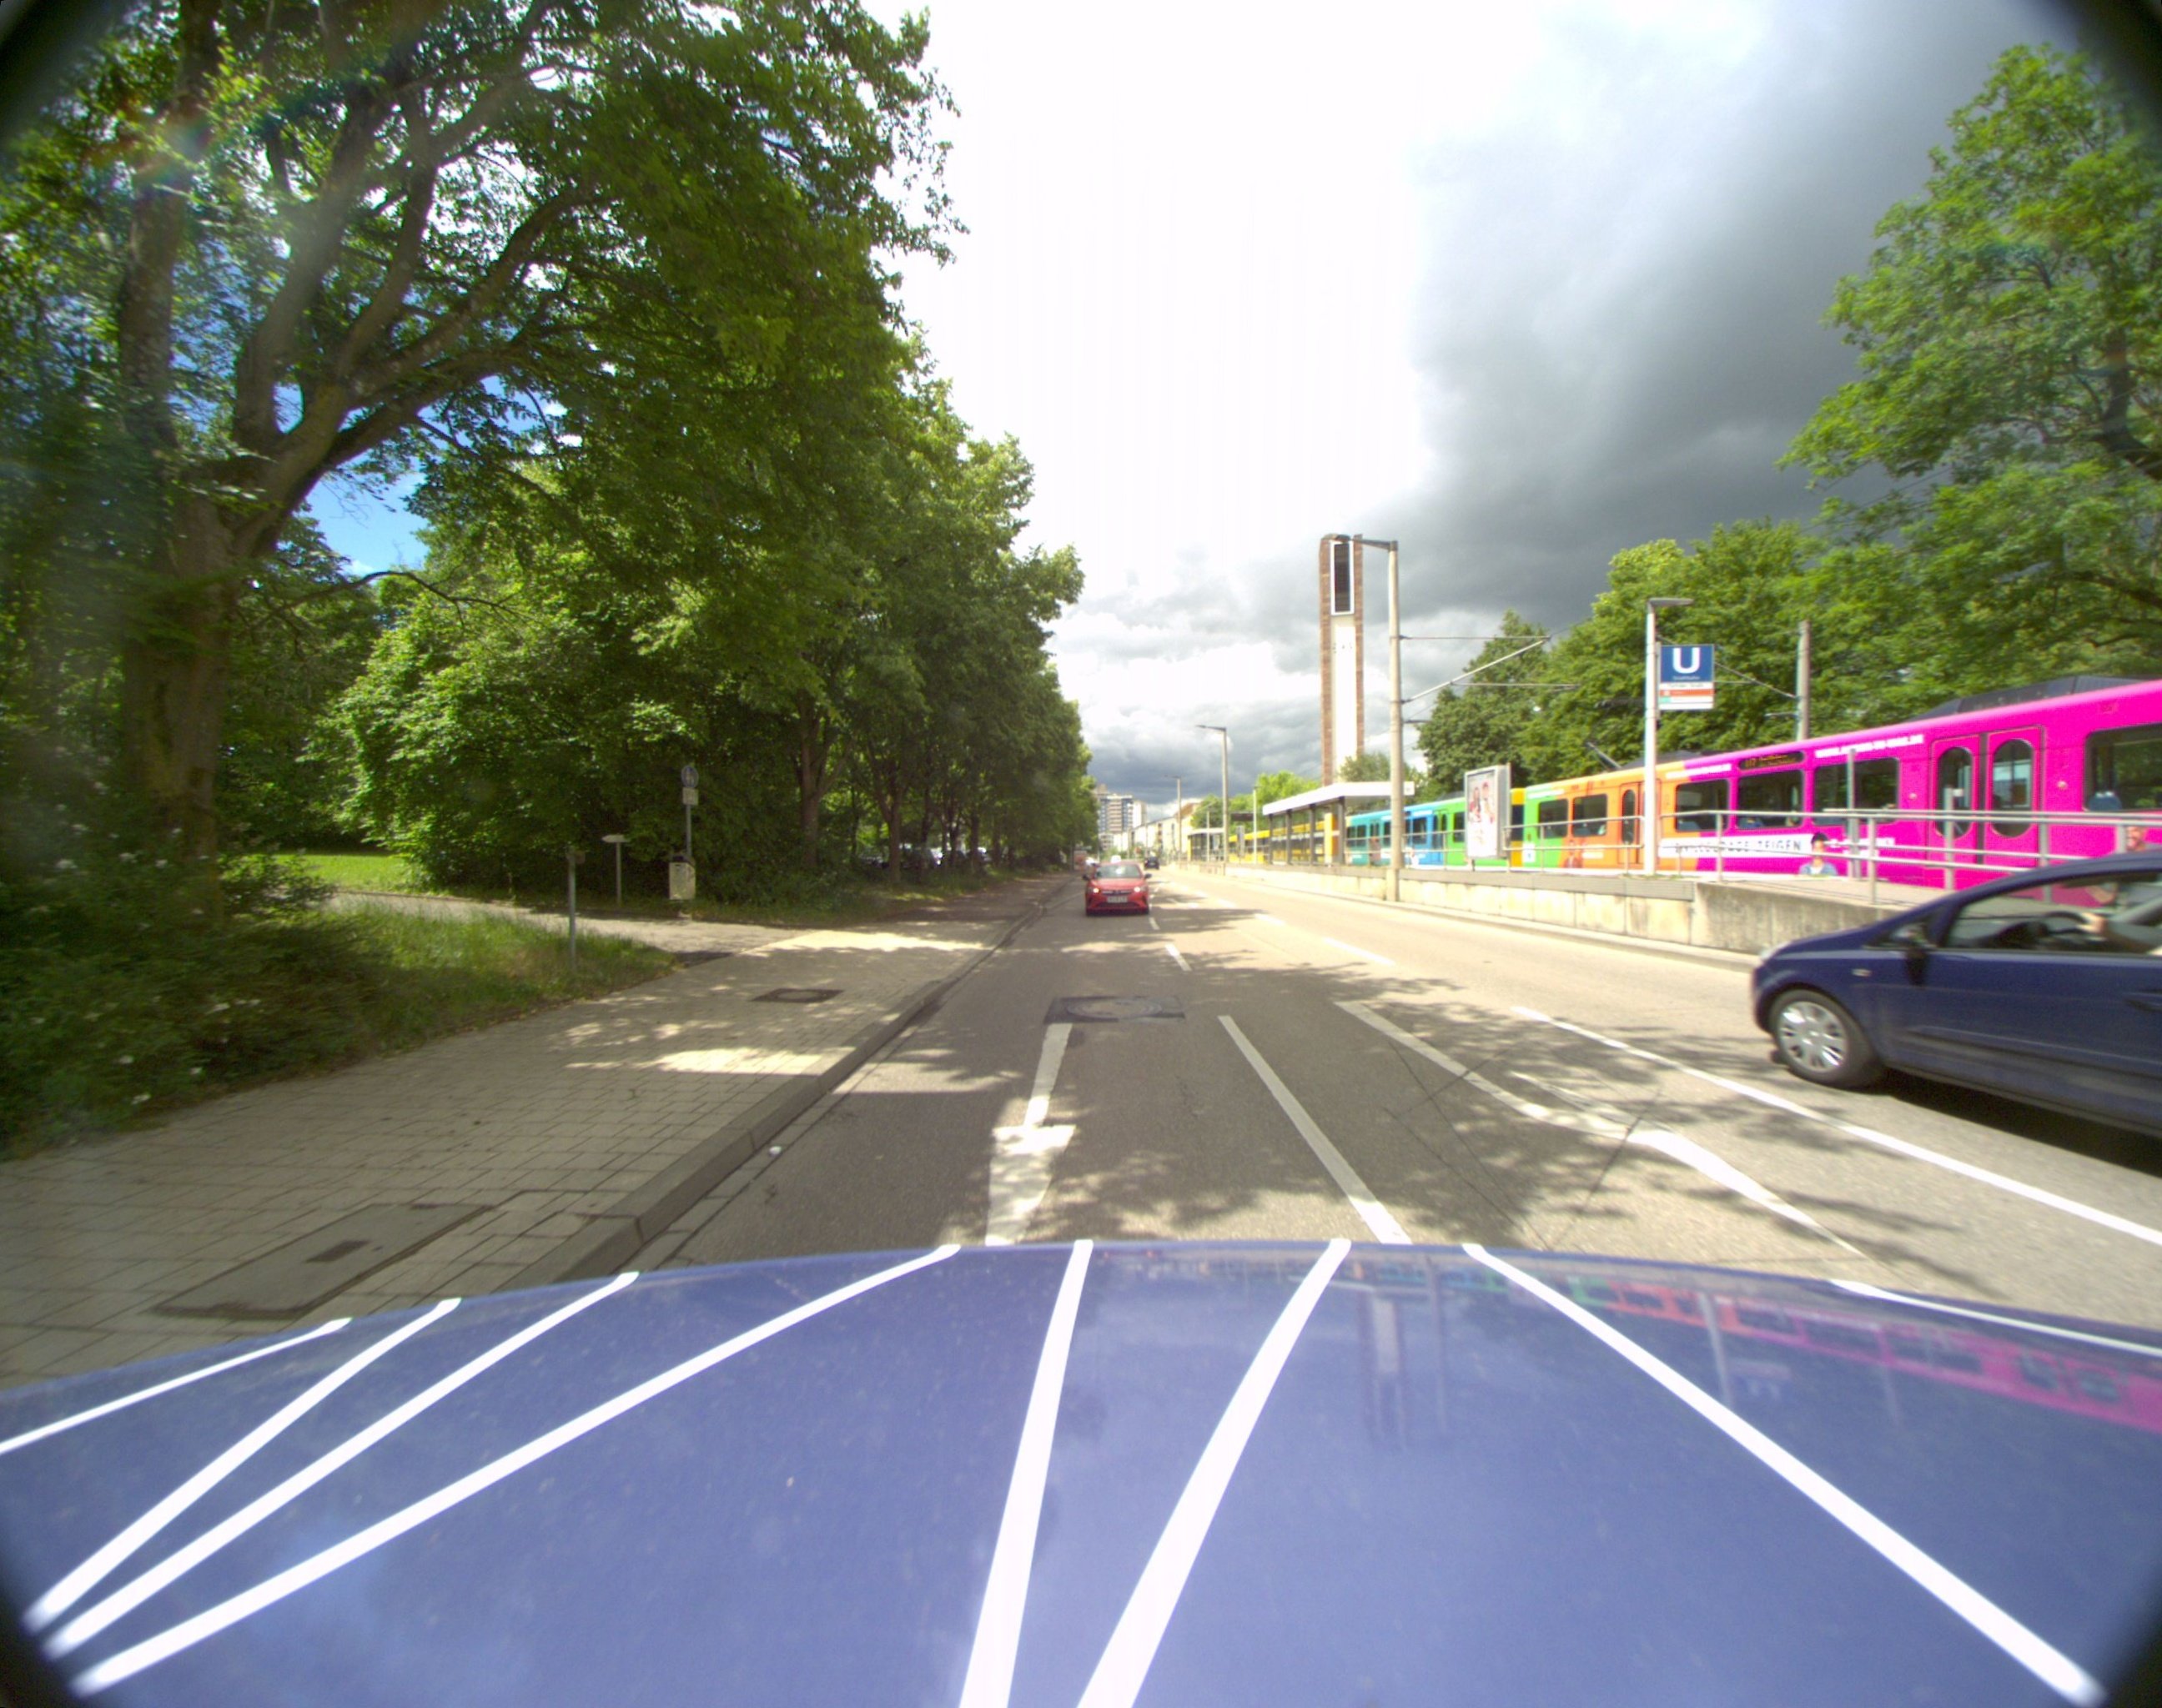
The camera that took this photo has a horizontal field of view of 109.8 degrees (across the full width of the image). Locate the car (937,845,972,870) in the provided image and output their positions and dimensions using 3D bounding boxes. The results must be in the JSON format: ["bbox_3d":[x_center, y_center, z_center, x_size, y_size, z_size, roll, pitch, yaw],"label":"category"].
[{"bbox_3d":[-8.319,0.201,50.232,1.756,1.533,4.225,-2,1,-2],"label":"car"}]

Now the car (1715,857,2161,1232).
[{"bbox_3d":[5.202,0.781,3.231,1.722,1.433,4.009,-2,1,1],"label":"car"}]

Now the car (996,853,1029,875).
[{"bbox_3d":[-5.088,0.737,56.840,1.655,1.533,3.678,-1,1,7],"label":"car"}]

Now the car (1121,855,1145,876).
[{"bbox_3d":[3.955,0.868,58.344,1.755,1.433,4.227,-2,1,4],"label":"car"}]

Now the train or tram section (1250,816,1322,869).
[{"bbox_3d":[16.465,-0.892,61.945,2.987,3.840,11.107,-2,0,2],"label":"train or tram section"}]

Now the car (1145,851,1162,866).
[{"bbox_3d":[8.332,0.454,87.533,1.755,1.603,4.227,-2,1,4],"label":"car"}]

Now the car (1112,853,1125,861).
[{"bbox_3d":[7.002,0.637,143.183,1.822,1.433,4.006,-2,1,-6],"label":"car"}]

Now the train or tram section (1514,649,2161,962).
[{"bbox_3d":[14.925,-0.681,14.723,2.987,3.840,18.539,-2,0,2],"label":"train or tram section"}]

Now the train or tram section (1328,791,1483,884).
[{"bbox_3d":[15.737,-0.742,38.273,2.987,3.840,11.787,-2,0,2],"label":"train or tram section"}]

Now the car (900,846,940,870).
[{"bbox_3d":[-10.632,0.238,50.464,1.656,1.533,3.677,1,1,4],"label":"car"}]

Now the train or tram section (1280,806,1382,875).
[{"bbox_3d":[16.100,-0.817,50.240,2.987,3.840,12.201,-2,0,2],"label":"train or tram section"}]

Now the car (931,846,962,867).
[{"bbox_3d":[-10.305,0.161,58.303,1.656,1.533,3.626,-2,1,0],"label":"car"}]

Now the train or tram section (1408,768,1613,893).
[{"bbox_3d":[15.368,-0.768,28.201,2.987,3.840,8.378,-2,0,2],"label":"train or tram section"}]

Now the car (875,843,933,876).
[{"bbox_3d":[-8.690,0.237,37.531,1.755,1.533,3.677,-2,1,4],"label":"car"}]

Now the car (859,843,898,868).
[{"bbox_3d":[-13.109,0.084,49.403,1.656,1.533,3.675,-2,1,-2],"label":"car"}]

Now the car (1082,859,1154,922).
[{"bbox_3d":[1.045,0.918,20.859,1.755,1.433,4.227,-2,1,4],"label":"car"}]
